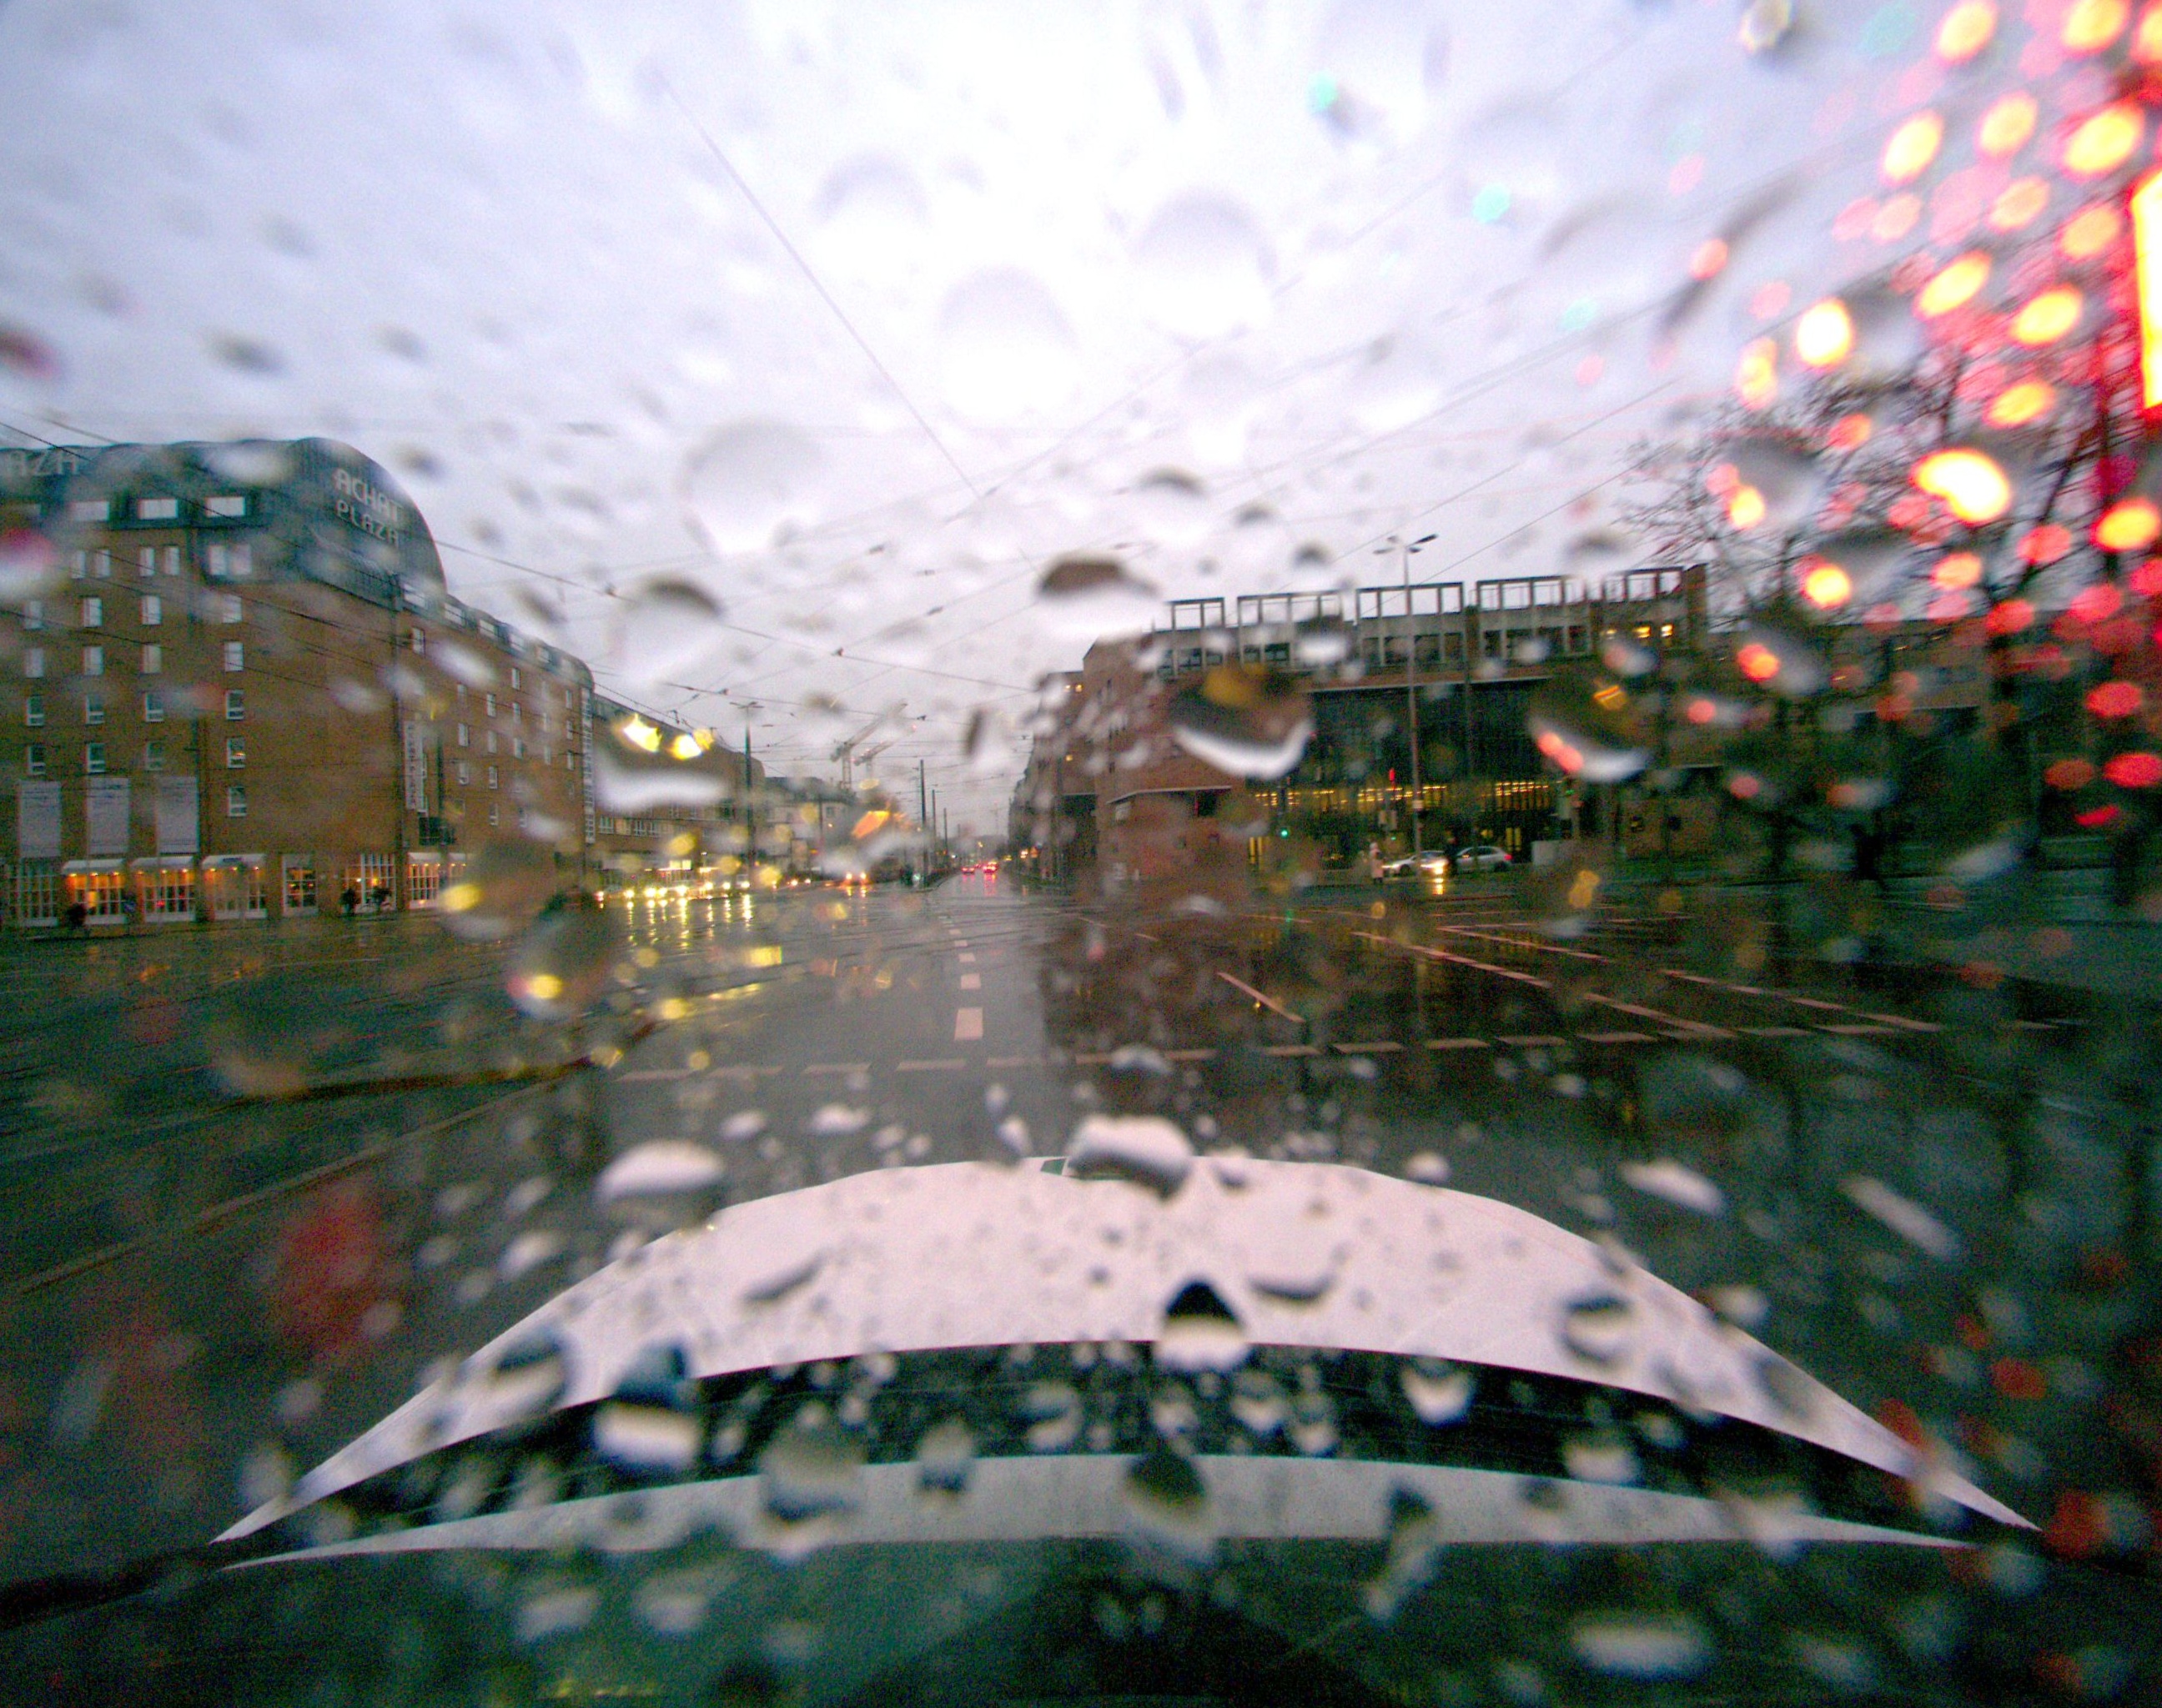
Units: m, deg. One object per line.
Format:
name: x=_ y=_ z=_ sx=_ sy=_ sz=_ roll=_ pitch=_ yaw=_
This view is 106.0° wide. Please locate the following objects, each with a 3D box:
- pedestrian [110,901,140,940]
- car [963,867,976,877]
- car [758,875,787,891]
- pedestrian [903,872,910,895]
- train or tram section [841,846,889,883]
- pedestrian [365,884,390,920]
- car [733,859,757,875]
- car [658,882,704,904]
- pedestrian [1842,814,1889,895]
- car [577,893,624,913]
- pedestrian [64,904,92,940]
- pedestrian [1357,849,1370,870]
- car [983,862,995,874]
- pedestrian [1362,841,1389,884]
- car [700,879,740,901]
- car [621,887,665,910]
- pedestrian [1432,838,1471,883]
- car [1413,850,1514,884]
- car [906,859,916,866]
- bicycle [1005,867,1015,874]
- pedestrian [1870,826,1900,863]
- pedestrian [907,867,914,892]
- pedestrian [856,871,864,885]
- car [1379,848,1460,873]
pedestrian: x=-39.050 y=2.702 z=33.268 sx=0.515 sy=1.538 sz=0.577 roll=-2 pitch=0 yaw=12
car: x=-18.344 y=2.964 z=133.903 sx=1.781 sy=1.467 sz=3.143 roll=-2 pitch=0 yaw=-5
car: x=-28.243 y=2.614 z=74.688 sx=1.680 sy=1.354 sz=3.536 roll=-1 pitch=-1 yaw=-8
pedestrian: x=-13.230 y=2.205 z=61.843 sx=0.433 sy=1.735 sz=0.471 roll=-2 pitch=-1 yaw=-12
train or tram section: x=-22.278 y=1.102 z=84.730 sx=2.947 sy=3.589 sz=12.227 roll=-1 pitch=-1 yaw=-6
pedestrian: x=-41.213 y=2.786 z=47.720 sx=0.939 sy=2.014 sz=0.752 roll=-2 pitch=-1 yaw=-30
car: x=-44.912 y=1.718 z=108.942 sx=1.992 sy=2.014 sz=3.990 roll=-1 pitch=-1 yaw=-7
car: x=-30.107 y=2.920 z=61.437 sx=1.666 sy=1.495 sz=4.192 roll=-2 pitch=-1 yaw=-6
pedestrian: x=17.935 y=0.005 z=18.614 sx=0.804 sy=1.811 sz=0.643 roll=-2 pitch=-1 yaw=-41
car: x=-38.322 y=3.924 z=65.085 sx=1.610 sy=1.321 sz=4.219 roll=-2 pitch=-1 yaw=-6
pedestrian: x=-44.873 y=3.028 z=36.429 sx=0.515 sy=1.538 sz=0.577 roll=-2 pitch=0 yaw=12
pedestrian: x=18.741 y=0.367 z=54.002 sx=0.731 sy=1.389 sz=0.740 roll=-2 pitch=-1 yaw=14
car: x=-16.307 y=2.394 z=144.676 sx=1.990 sy=2.013 sz=3.993 roll=-2 pitch=0 yaw=-5
pedestrian: x=12.408 y=0.360 z=34.280 sx=0.734 sy=1.787 sz=0.732 roll=-2 pitch=-1 yaw=-10
car: x=-31.800 y=3.163 z=71.863 sx=1.827 sy=1.709 sz=4.693 roll=-2 pitch=-1 yaw=-7
car: x=-33.423 y=3.391 z=62.236 sx=1.580 sy=1.495 sz=3.588 roll=-2 pitch=-1 yaw=-6
pedestrian: x=15.259 y=0.267 z=33.555 sx=1.147 sy=1.787 sz=0.776 roll=-2 pitch=-1 yaw=-6
car: x=18.277 y=0.617 z=39.033 sx=3.974 sy=1.341 sz=1.811 roll=-4 pitch=-1 yaw=-4
car: x=-35.695 y=1.801 z=171.153 sx=1.680 sy=1.354 sz=3.536 roll=-1 pitch=-1 yaw=-8
bicycle: x=-12.742 y=2.946 z=146.194 sx=1.729 sy=1.055 sz=0.370 roll=-3 pitch=0 yaw=-9
pedestrian: x=30.156 y=-0.356 z=30.543 sx=0.603 sy=1.364 sz=0.479 roll=-2 pitch=-1 yaw=1
pedestrian: x=-12.568 y=1.866 z=60.093 sx=0.412 sy=1.845 sz=0.667 roll=-2 pitch=-1 yaw=-12
pedestrian: x=-19.327 y=2.114 z=71.342 sx=0.579 sy=1.152 sz=0.489 roll=-1 pitch=-1 yaw=-6
car: x=19.816 y=0.396 z=47.711 sx=3.975 sy=1.310 sz=1.811 roll=-2 pitch=-1 yaw=-5
